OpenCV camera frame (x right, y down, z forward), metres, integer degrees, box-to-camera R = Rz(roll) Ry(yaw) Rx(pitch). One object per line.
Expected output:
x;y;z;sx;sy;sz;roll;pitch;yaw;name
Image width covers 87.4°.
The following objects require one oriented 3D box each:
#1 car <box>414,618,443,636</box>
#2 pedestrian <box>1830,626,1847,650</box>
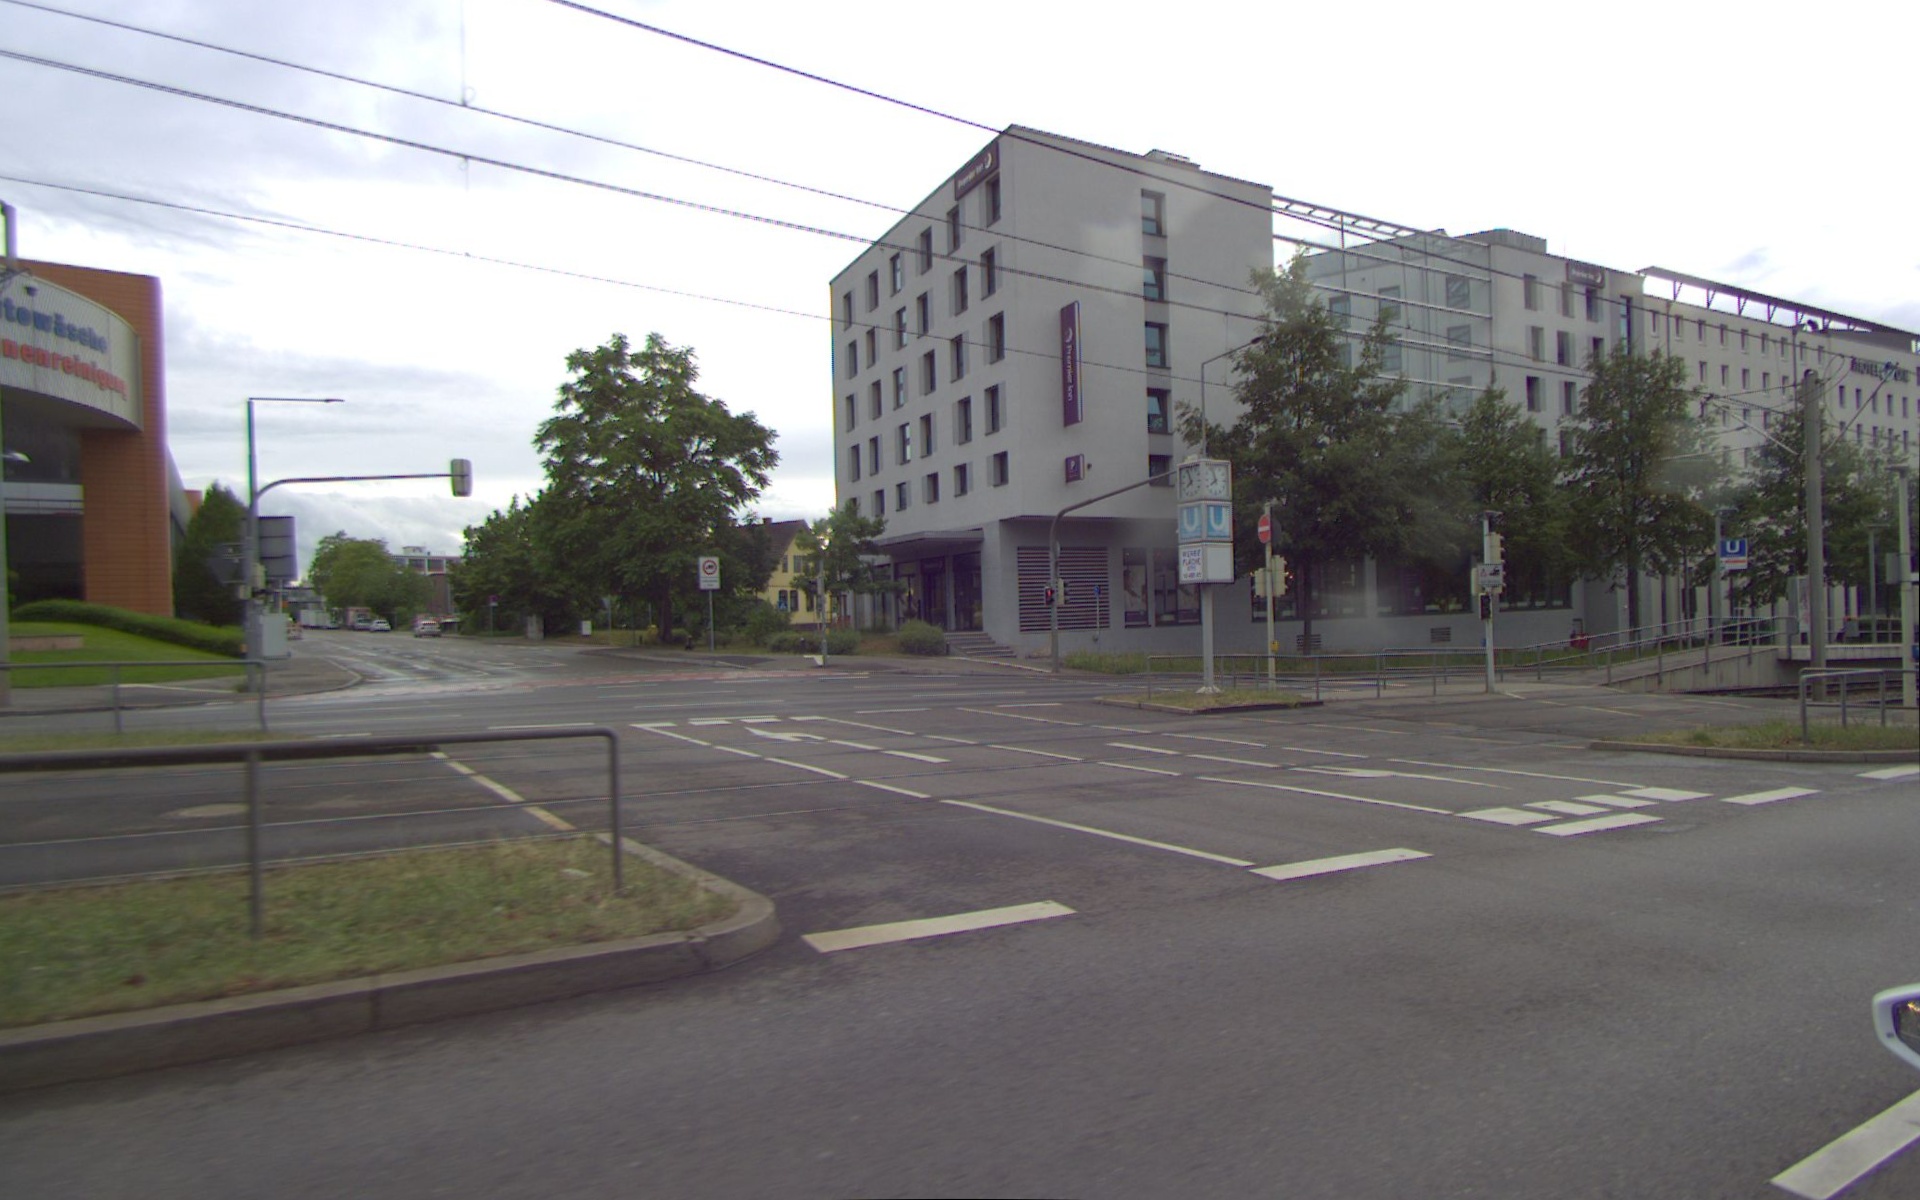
-47.744;2.417;90.262;1.856;1.617;3.936;1;-1;-35;car
58.880;2.528;67.301;0.824;1.599;0.598;1;0;-27;pedestrian
